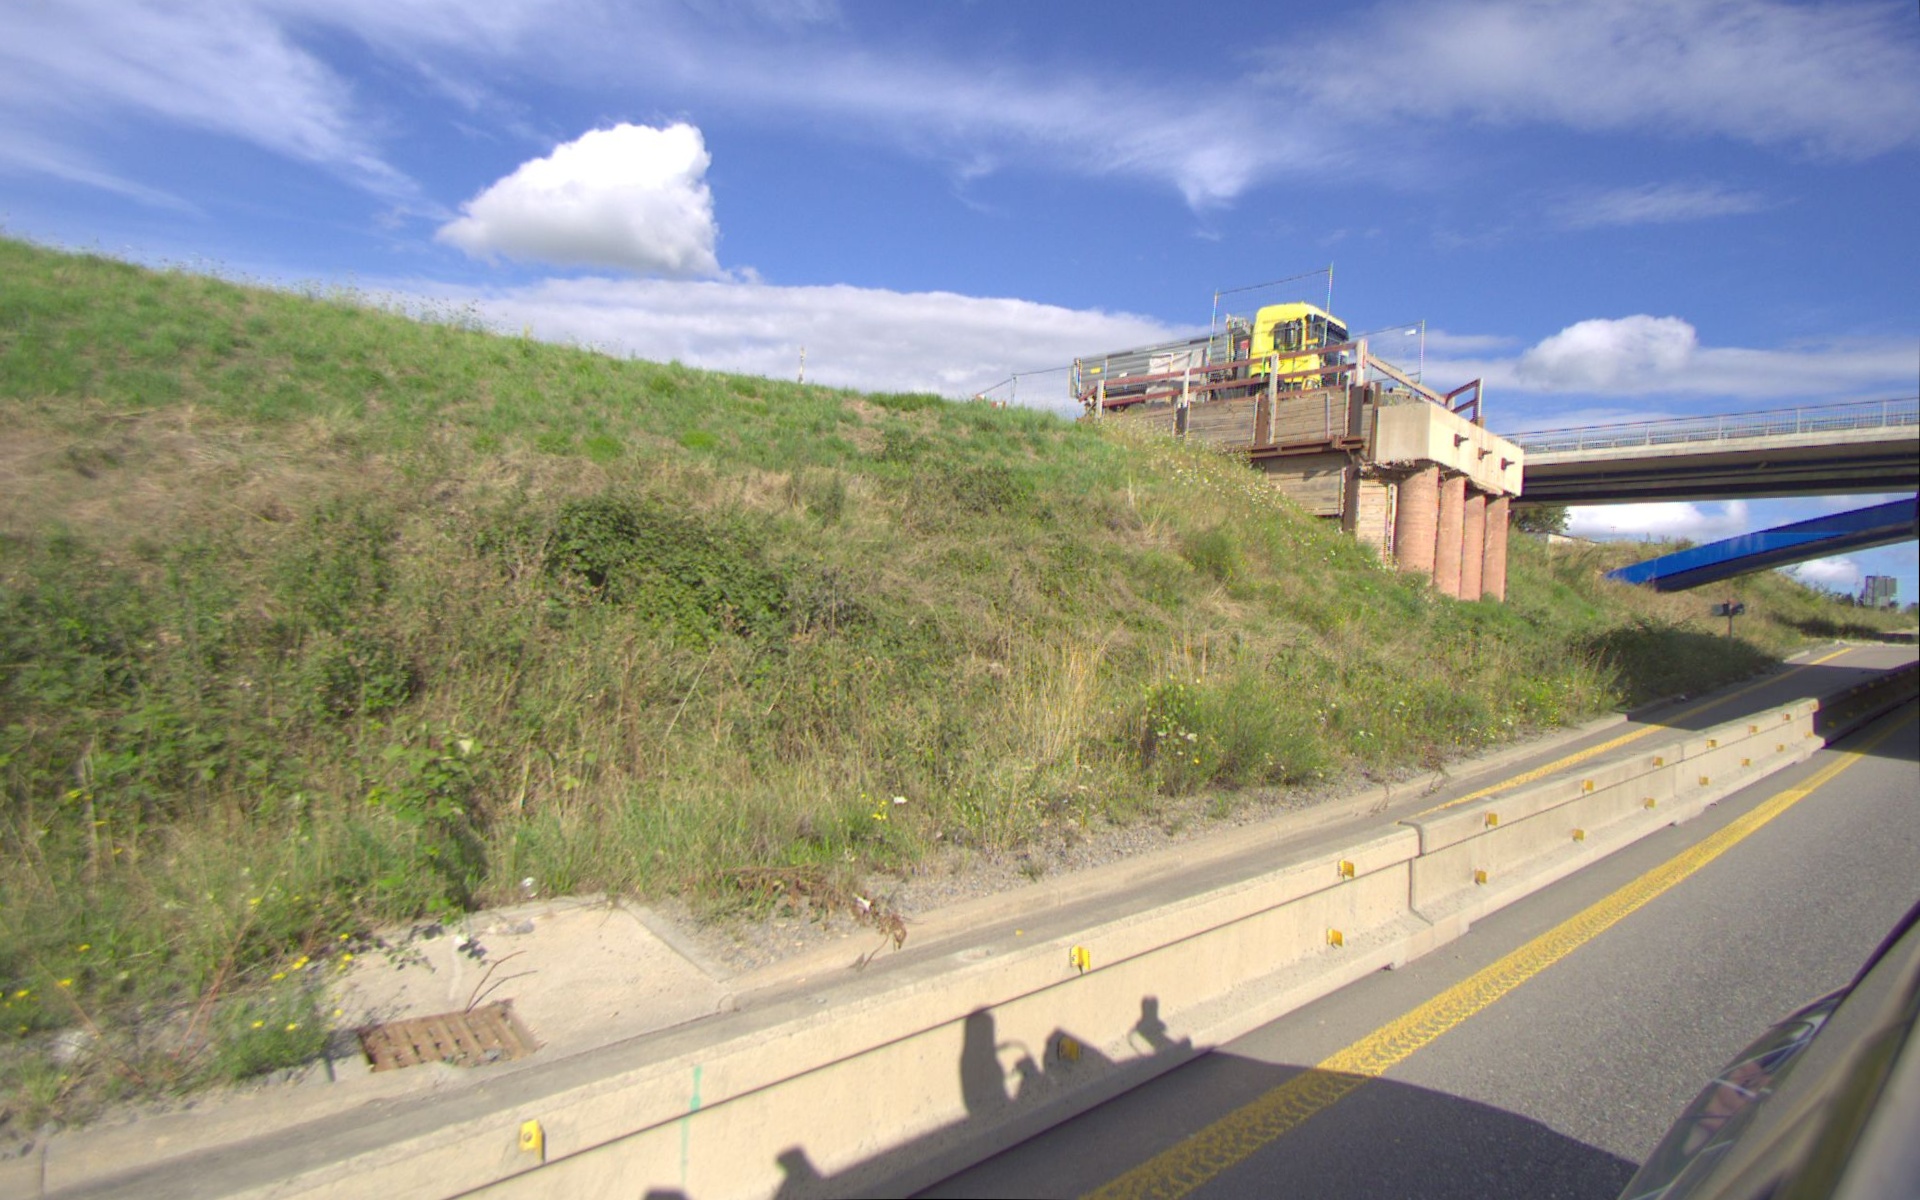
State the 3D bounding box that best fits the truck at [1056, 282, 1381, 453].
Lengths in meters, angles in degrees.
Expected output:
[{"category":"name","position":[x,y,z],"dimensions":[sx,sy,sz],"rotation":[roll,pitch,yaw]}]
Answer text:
[{"category":"truck","position":[7.320,-6.550,30.161],"dimensions":[2.910,3.268,9.274],"rotation":[1,1,-43]}]
